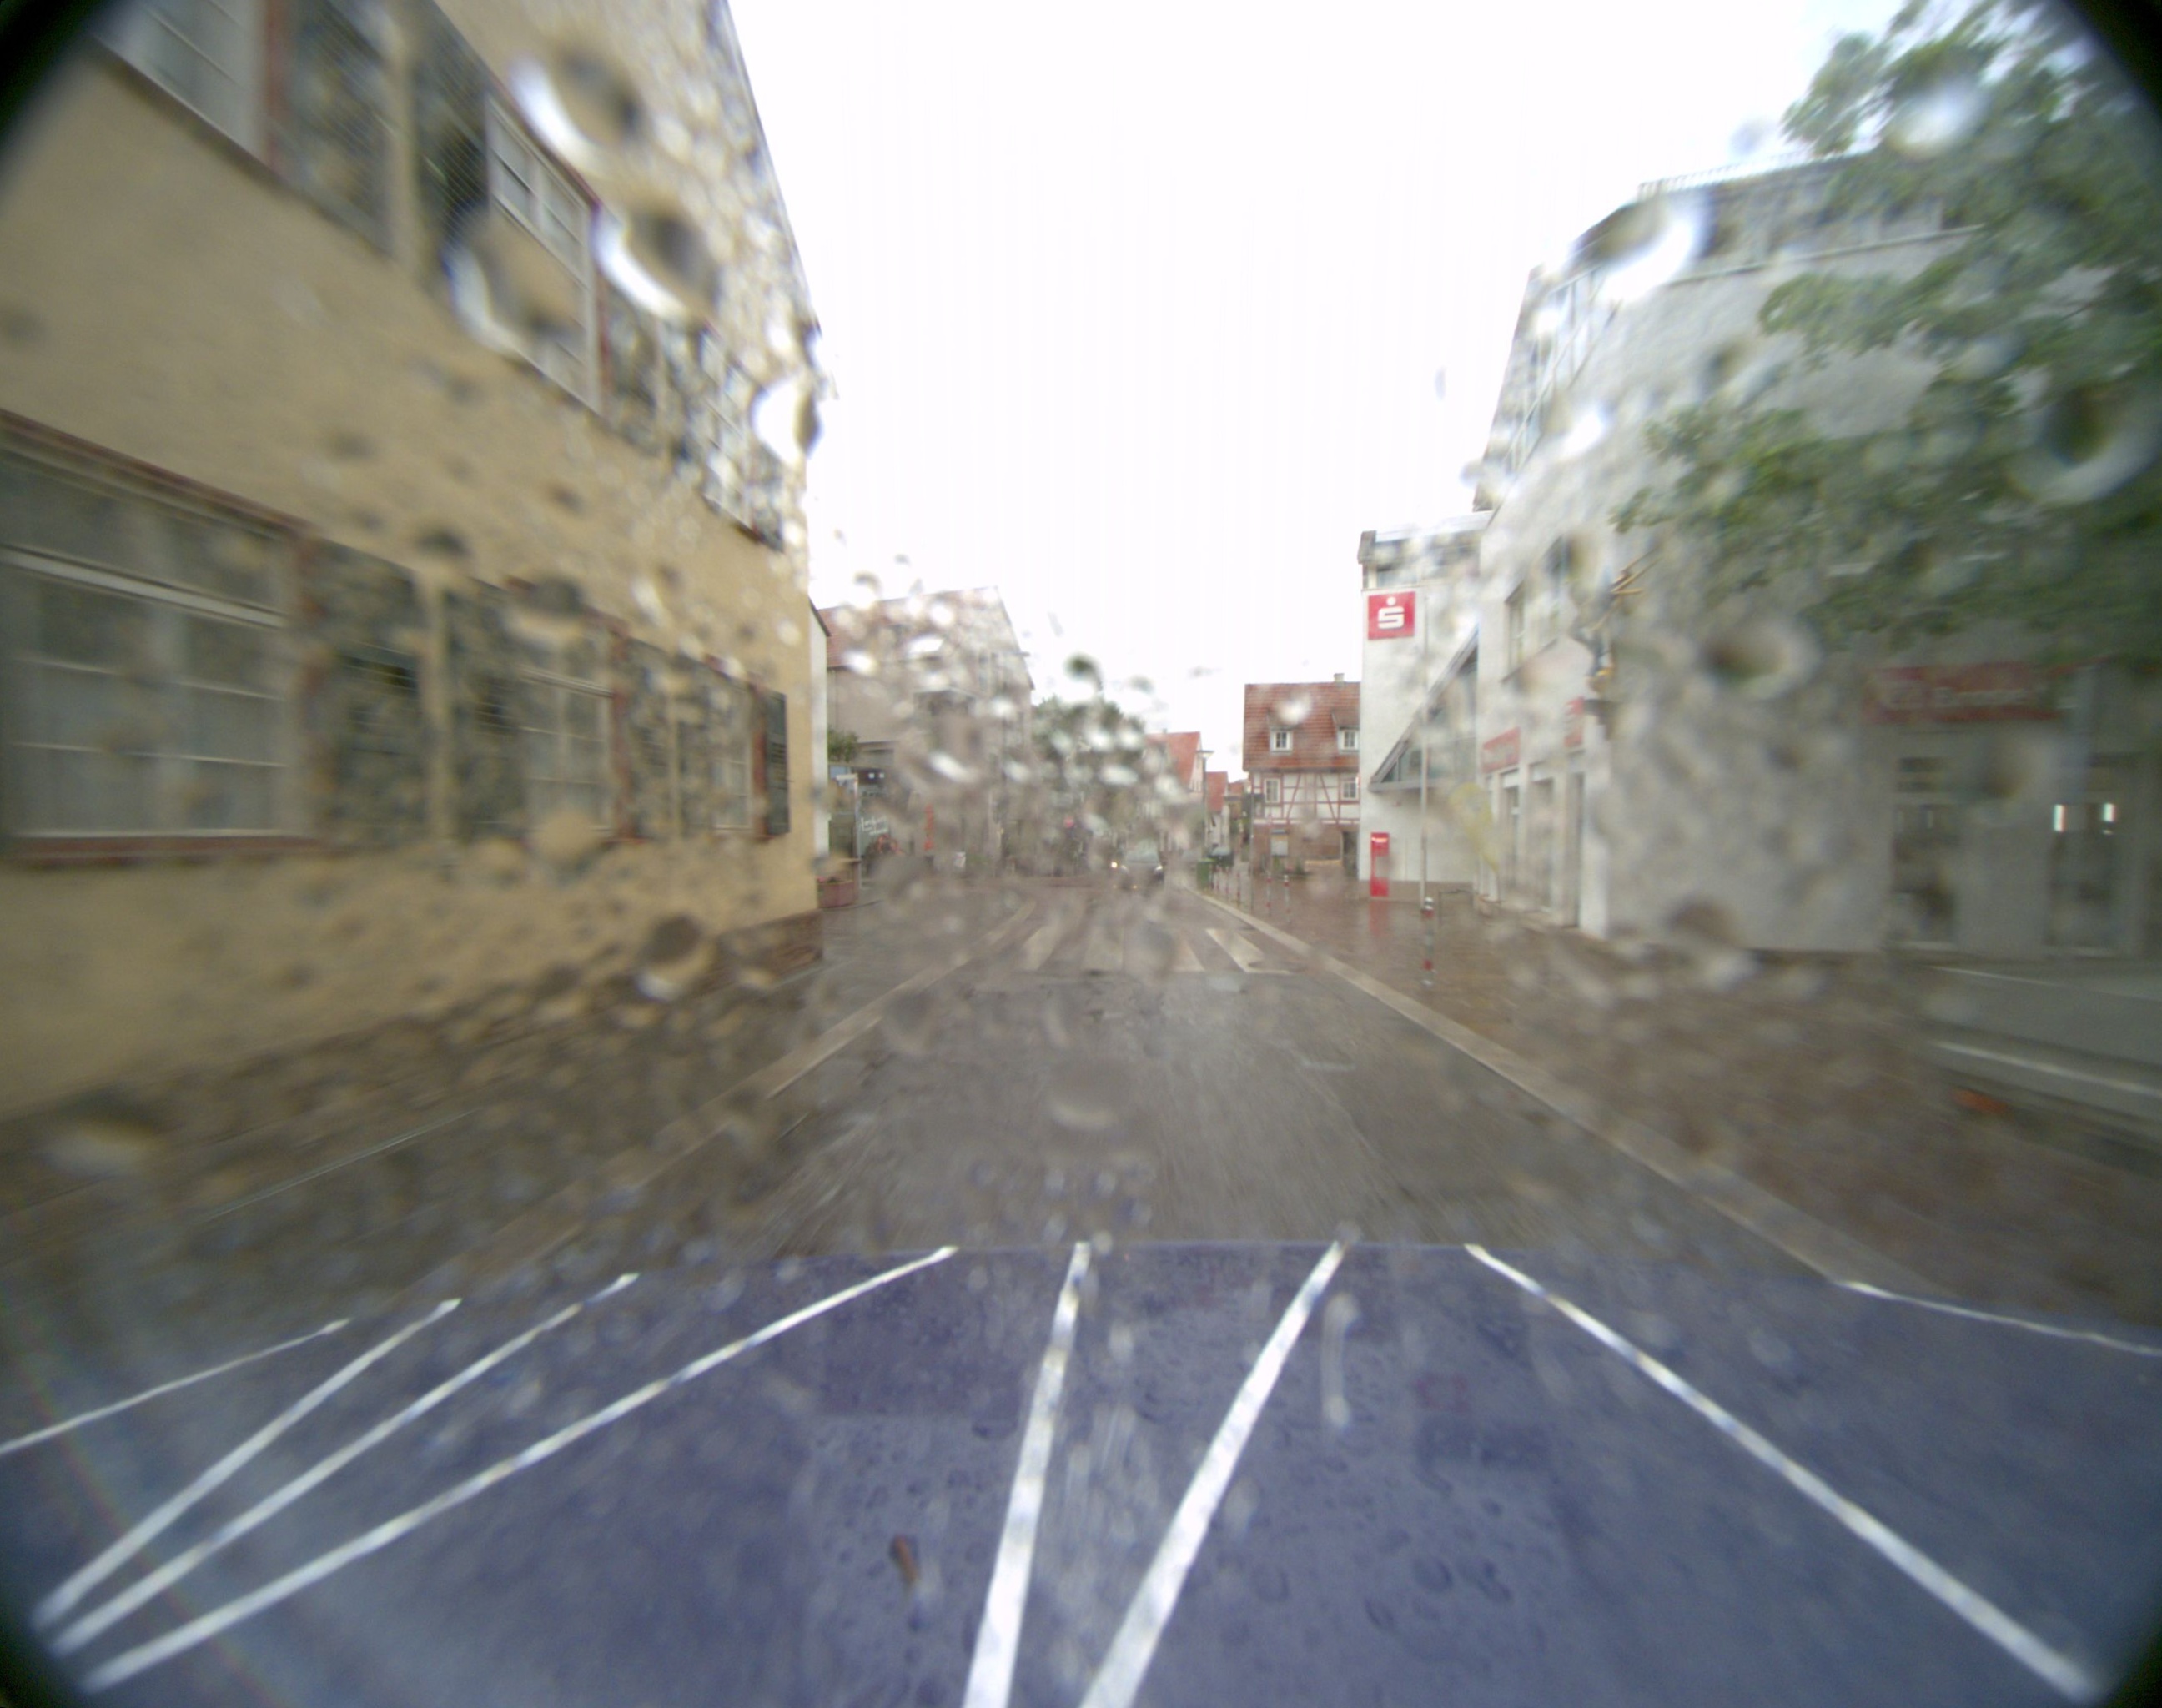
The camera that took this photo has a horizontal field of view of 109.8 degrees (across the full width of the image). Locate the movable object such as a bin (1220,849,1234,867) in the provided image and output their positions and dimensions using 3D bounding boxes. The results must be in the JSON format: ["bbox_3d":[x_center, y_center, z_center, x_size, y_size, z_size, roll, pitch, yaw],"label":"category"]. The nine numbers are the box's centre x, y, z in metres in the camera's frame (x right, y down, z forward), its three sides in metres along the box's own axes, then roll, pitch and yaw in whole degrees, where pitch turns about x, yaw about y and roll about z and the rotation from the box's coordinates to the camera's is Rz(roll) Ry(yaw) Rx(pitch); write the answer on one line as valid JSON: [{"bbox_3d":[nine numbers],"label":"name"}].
[{"bbox_3d":[9.330,0.231,48.680,0.834,1.106,0.919,1,2,10],"label":"movable object such as a bin"}]

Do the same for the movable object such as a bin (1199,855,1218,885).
[{"bbox_3d":[4.748,0.581,28.378,0.660,1.090,0.613,1,2,6],"label":"movable object such as a bin"}]

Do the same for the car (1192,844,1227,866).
[{"bbox_3d":[9.740,0.029,57.284,1.996,1.520,4.004,-2,1,17],"label":"car"}]

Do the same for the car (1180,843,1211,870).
[{"bbox_3d":[6.724,0.123,44.973,1.693,1.478,4.001,0,1,7],"label":"car"}]

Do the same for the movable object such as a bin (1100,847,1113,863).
[{"bbox_3d":[1.742,0.082,51.189,0.764,1.069,0.538,1,2,13],"label":"movable object such as a bin"}]

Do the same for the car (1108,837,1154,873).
[{"bbox_3d":[2.627,0.016,39.305,1.997,1.740,4.002,1,2,8],"label":"car"}]

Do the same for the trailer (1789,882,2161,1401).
[{"bbox_3d":[3.757,0.799,1.493,1.732,1.339,3.160,1,0,-1],"label":"trailer"}]

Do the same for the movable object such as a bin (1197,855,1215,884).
[{"bbox_3d":[4.810,0.590,29.323,0.659,1.108,0.553,1,2,8],"label":"movable object such as a bin"}]

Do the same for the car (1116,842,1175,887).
[{"bbox_3d":[2.506,0.369,28.824,1.735,1.546,3.848,1,1,12],"label":"car"}]

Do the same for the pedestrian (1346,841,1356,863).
[{"bbox_3d":[14.117,-0.103,39.668,0.411,1.148,0.425,1,2,11],"label":"pedestrian"}]
